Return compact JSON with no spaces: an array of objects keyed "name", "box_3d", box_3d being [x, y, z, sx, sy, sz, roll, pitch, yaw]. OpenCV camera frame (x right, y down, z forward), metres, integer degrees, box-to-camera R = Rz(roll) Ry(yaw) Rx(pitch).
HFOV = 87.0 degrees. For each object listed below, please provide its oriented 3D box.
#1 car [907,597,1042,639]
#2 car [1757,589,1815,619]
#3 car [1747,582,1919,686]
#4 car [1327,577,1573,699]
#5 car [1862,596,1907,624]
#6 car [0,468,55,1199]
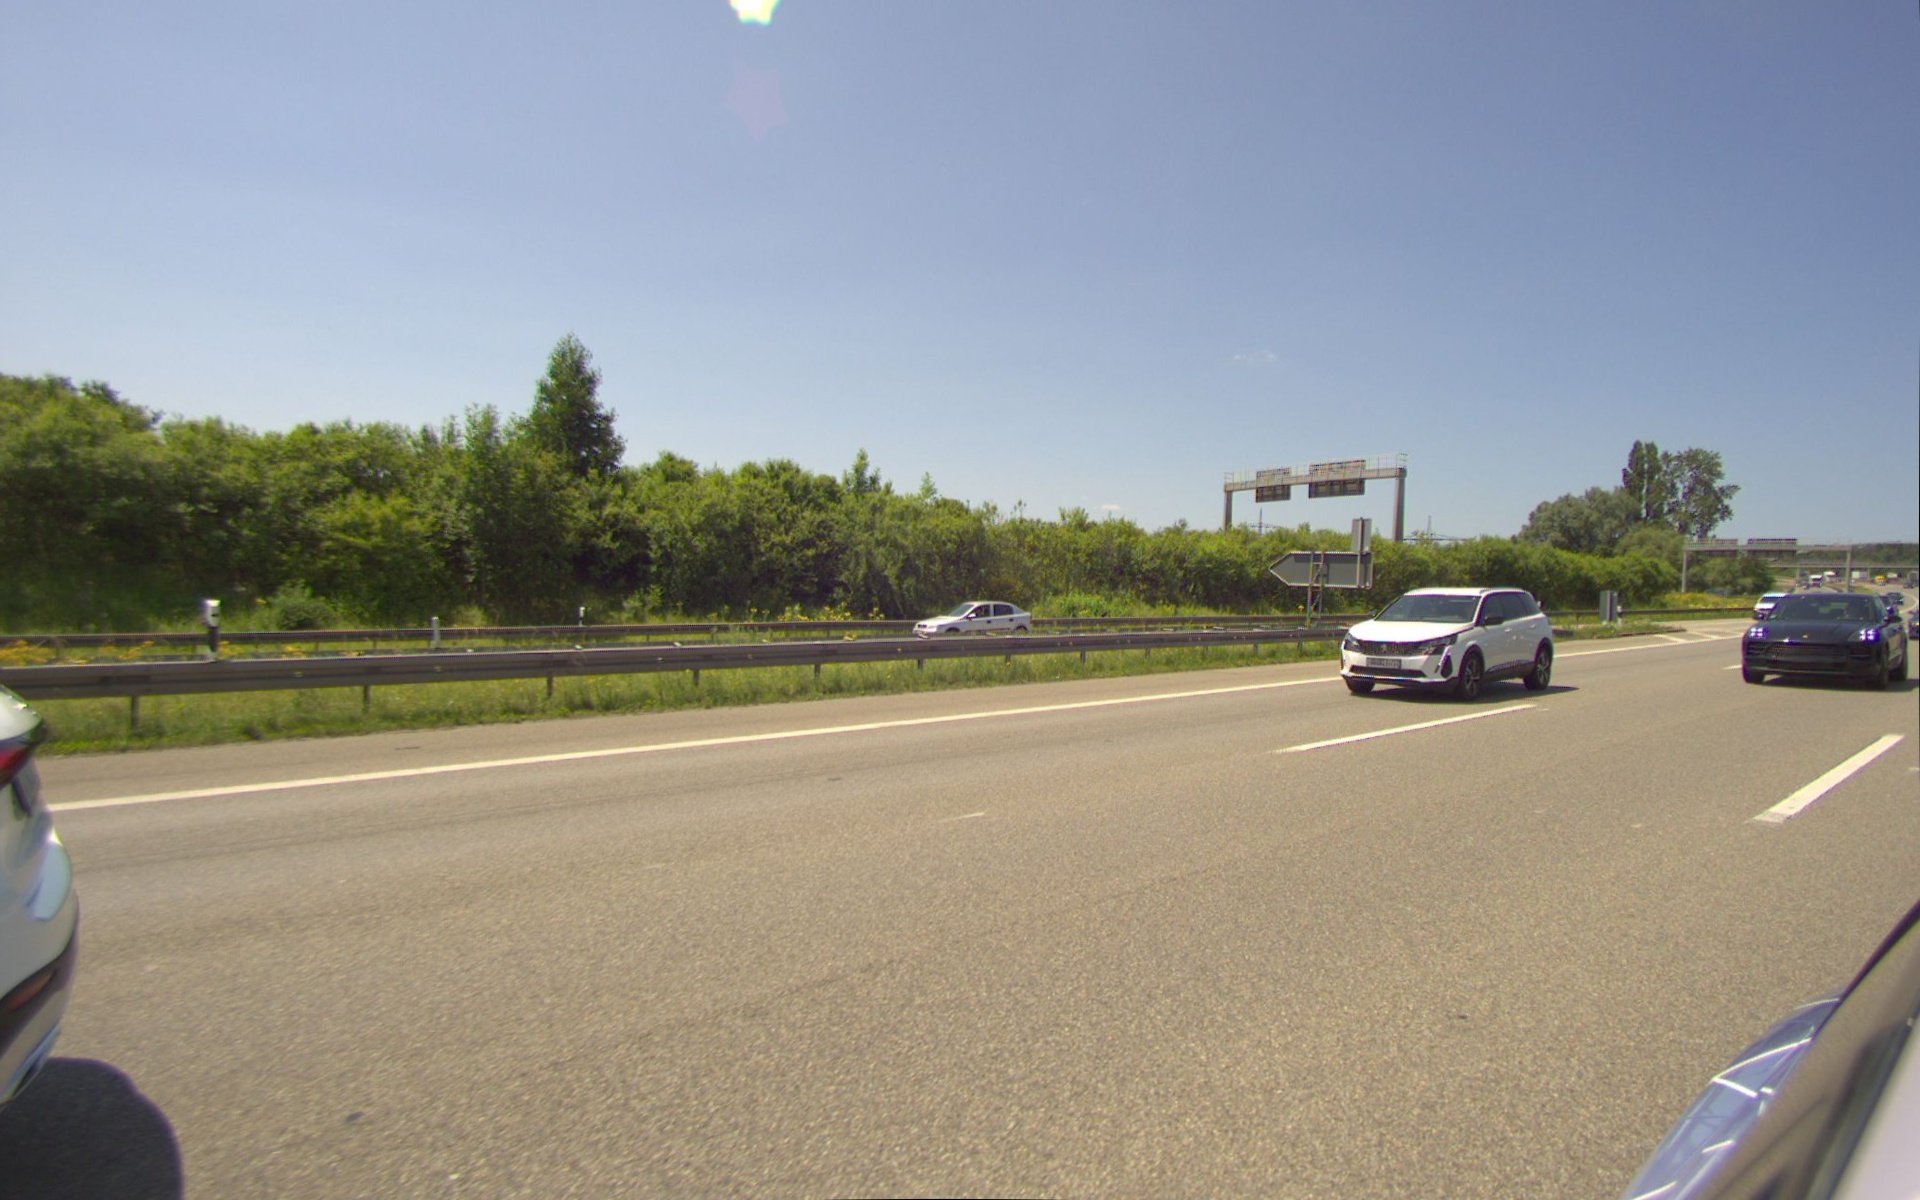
[{"name":"car","box_3d":[0.472,0.549,33.117,3.995,1.296,1.902,0,0,-28]},{"name":"car","box_3d":[58.575,0.257,71.737,4.674,2.039,2.000,0,1,-36]},{"name":"car","box_3d":[15.925,0.517,18.253,4.538,1.650,1.980,0,1,-42]},{"name":"car","box_3d":[7.801,0.498,15.904,4.537,1.650,1.896,0,1,-41]},{"name":"car","box_3d":[53.189,0.560,58.189,1.748,1.489,3.936,1,1,45]},{"name":"car","box_3d":[-4.147,0.574,1.153,4.554,1.676,1.908,0,0,-40]}]
